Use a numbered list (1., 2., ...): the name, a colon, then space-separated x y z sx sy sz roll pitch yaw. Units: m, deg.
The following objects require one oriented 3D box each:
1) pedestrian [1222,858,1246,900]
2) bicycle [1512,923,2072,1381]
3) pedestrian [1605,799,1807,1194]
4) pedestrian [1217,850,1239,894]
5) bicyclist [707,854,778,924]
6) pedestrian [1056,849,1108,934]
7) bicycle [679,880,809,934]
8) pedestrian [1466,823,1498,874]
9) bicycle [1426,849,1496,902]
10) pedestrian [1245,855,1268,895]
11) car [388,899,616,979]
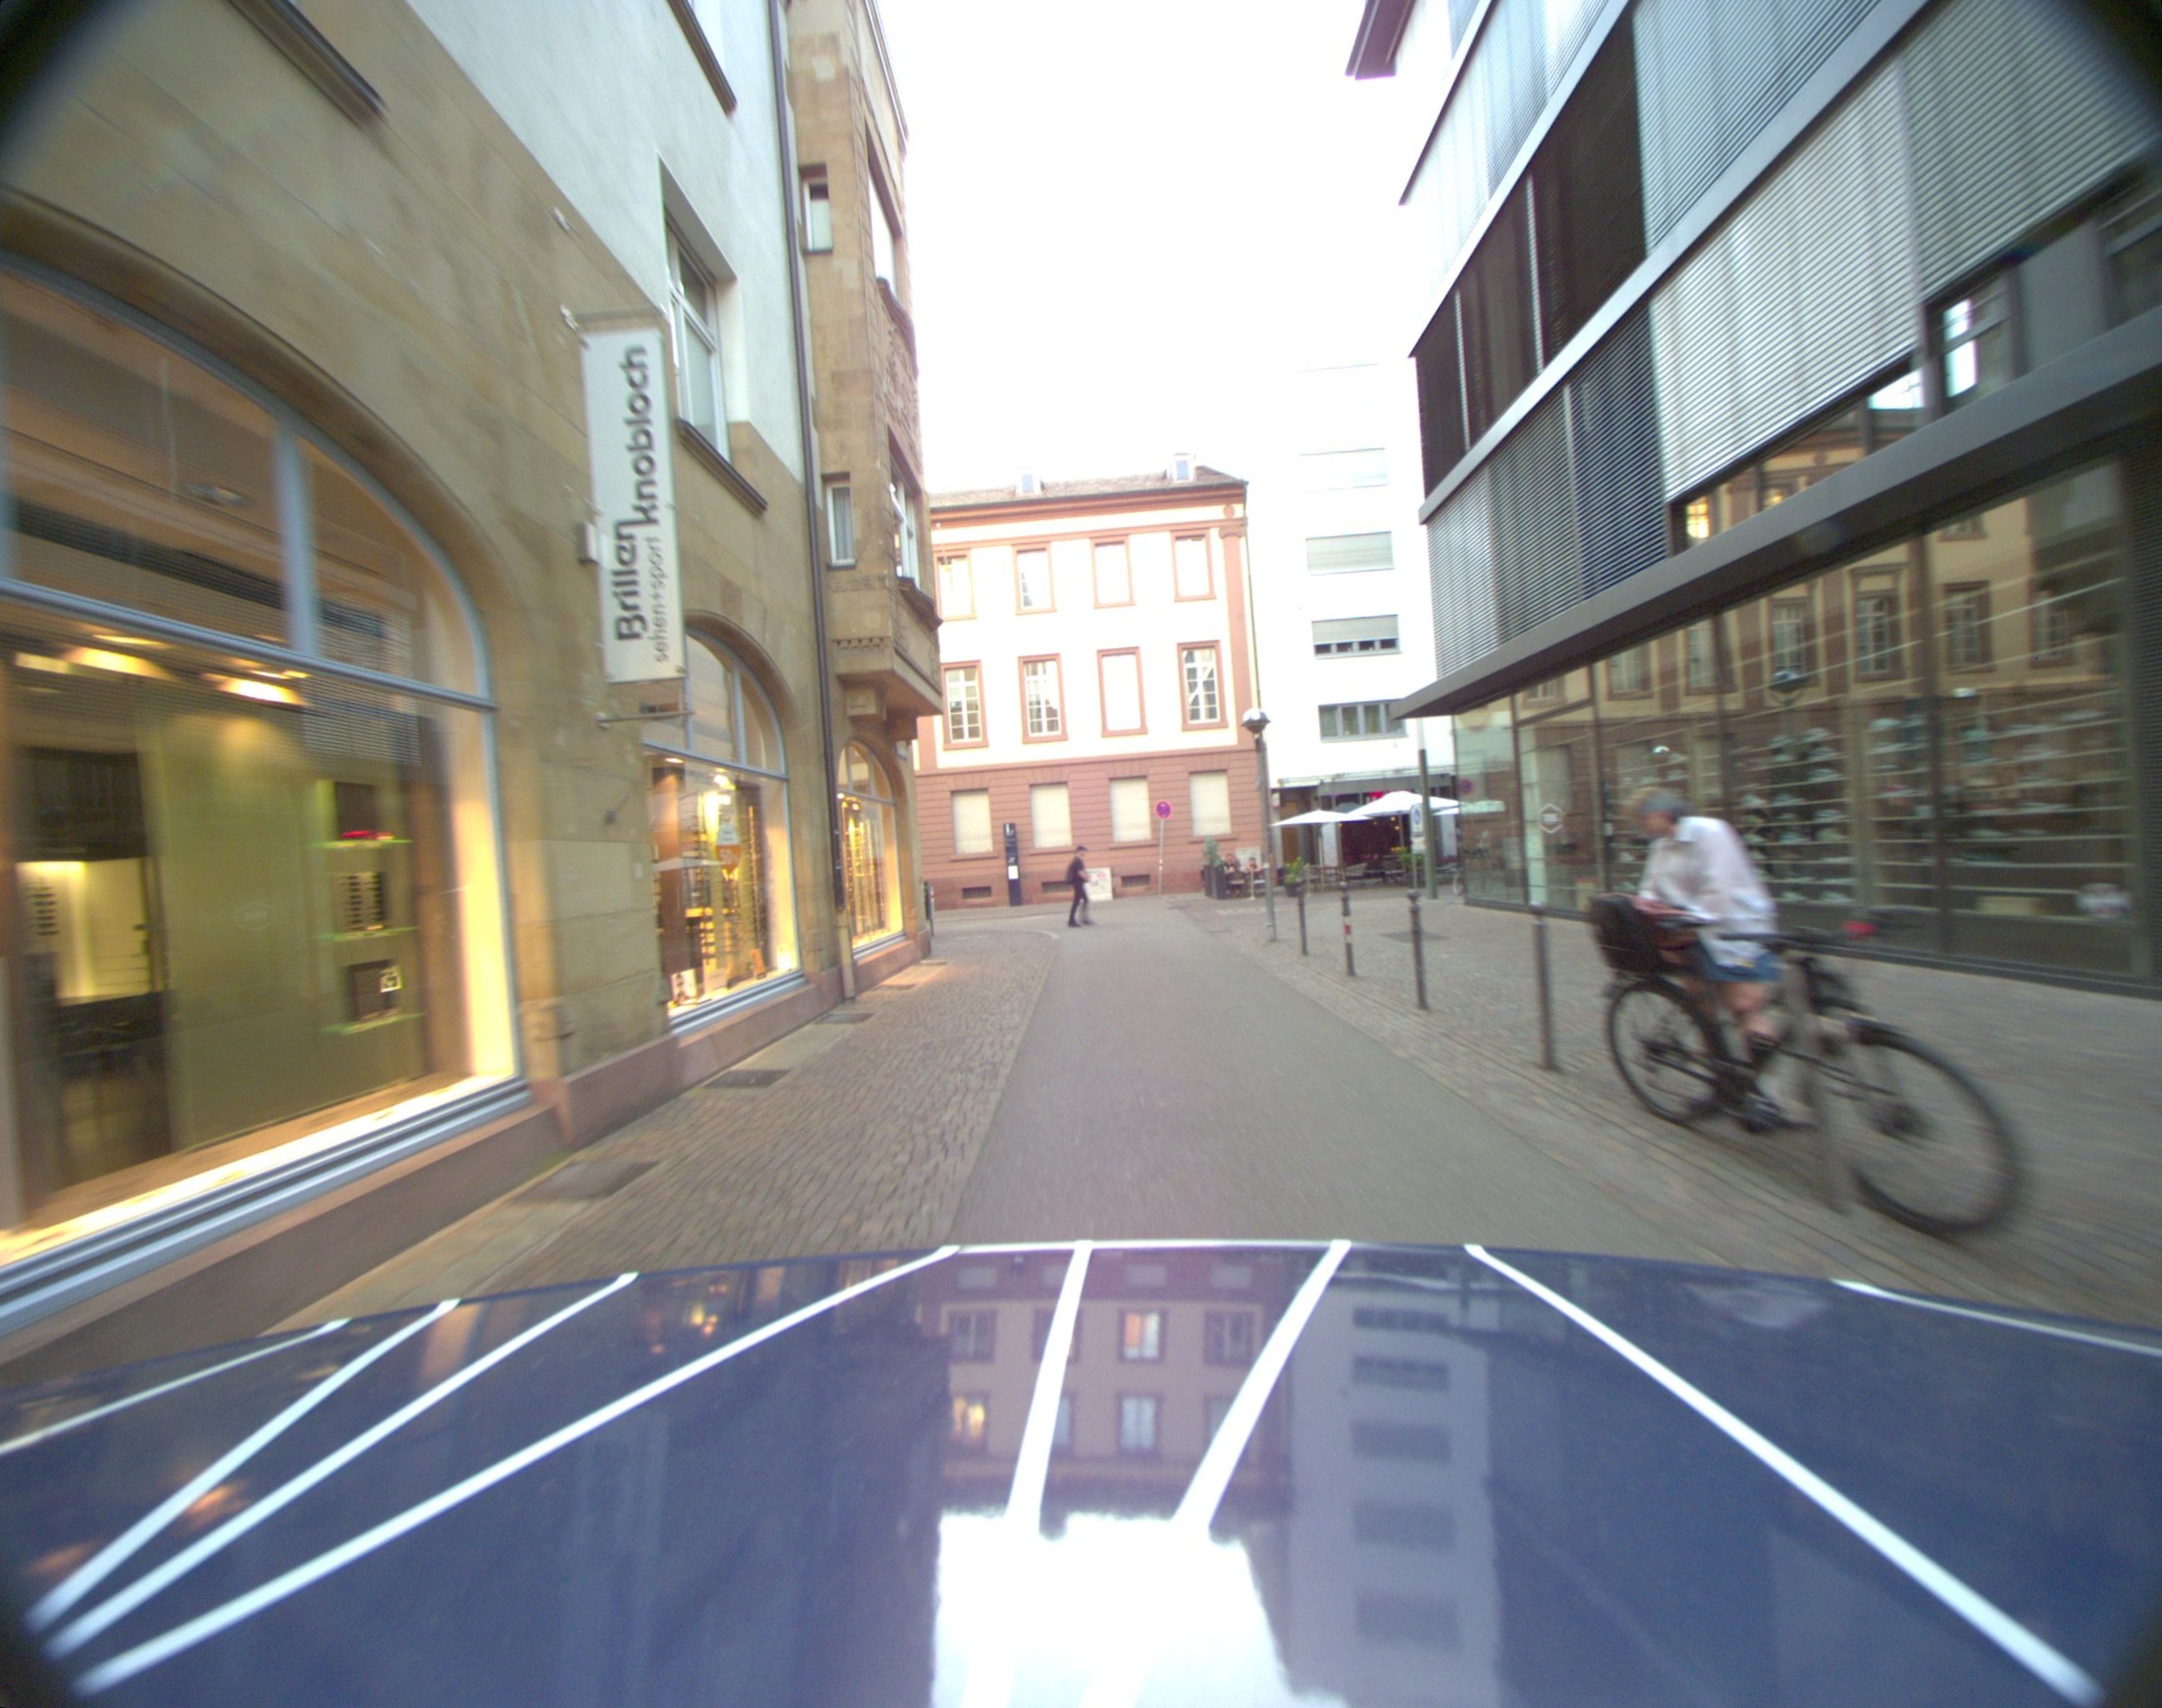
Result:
1. pedestrian: 4.531 0.732 22.521 0.561 1.204 0.461 -4 1 3
2. bicycle: 2.664 0.981 3.225 0.534 1.147 1.915 -6 0 2
3. pedestrian: 3.040 0.618 3.751 0.590 1.708 0.771 -5 1 37
4. pedestrian: 4.642 0.578 24.033 0.549 1.341 0.489 -4 1 3
5. bicyclist: -9.472 0.960 21.296 1.469 1.807 0.923 -4 0 0
6. pedestrian: 0.010 0.809 16.856 0.968 1.775 0.740 -4 1 -4
7. bicycle: -9.406 1.471 21.296 3.155 1.252 0.923 -4 0 -1
8. pedestrian: 13.675 -0.179 25.910 0.671 1.655 0.623 -4 0 -26
9. bicycle: 8.645 0.480 17.366 0.709 1.106 1.674 -4 -1 0
10. pedestrian: 5.468 0.649 23.732 0.549 1.204 0.524 -4 1 3
11. car: -13.314 1.934 17.602 3.996 1.434 1.651 -4 0 3
